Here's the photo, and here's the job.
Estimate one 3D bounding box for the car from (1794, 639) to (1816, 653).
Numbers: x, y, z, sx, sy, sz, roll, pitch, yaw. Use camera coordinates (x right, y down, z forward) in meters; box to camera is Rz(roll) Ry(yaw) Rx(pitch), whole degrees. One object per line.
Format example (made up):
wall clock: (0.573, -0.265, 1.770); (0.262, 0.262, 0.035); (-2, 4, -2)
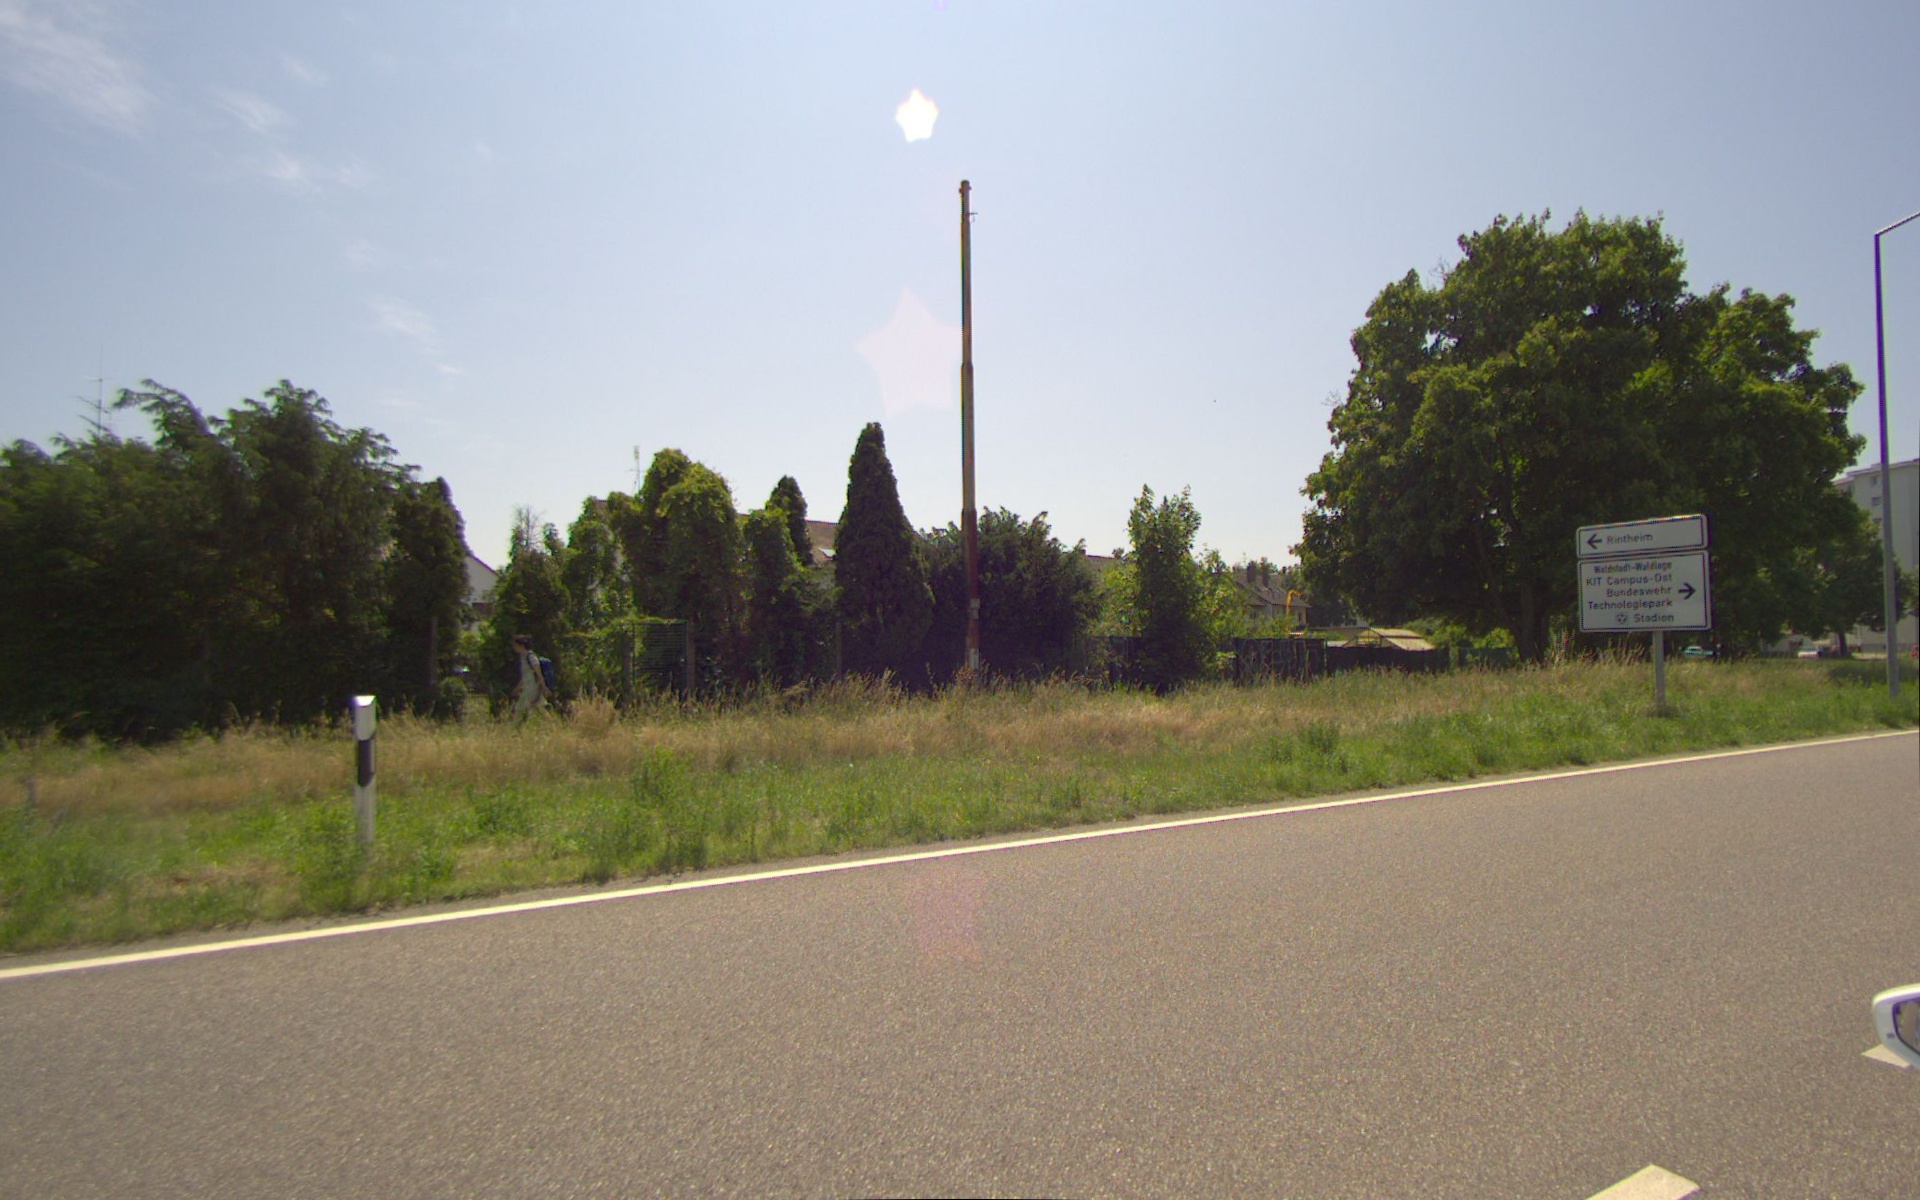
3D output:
car: (93.127, 5.079, 110.735); (1.668, 1.582, 3.821); (-3, -4, 39)

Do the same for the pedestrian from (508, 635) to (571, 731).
pedestrian: (-6.209, 1.204, 14.840); (0.789, 1.373, 0.578); (1, -2, -30)

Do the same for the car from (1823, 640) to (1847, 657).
car: (95.222, 5.236, 109.347); (1.824, 1.734, 3.983); (-1, -2, 39)

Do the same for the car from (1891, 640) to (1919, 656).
car: (99.471, 5.045, 105.413); (1.820, 1.690, 3.992); (-2, -4, 31)

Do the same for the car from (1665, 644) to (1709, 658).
car: (78.984, 5.570, 109.182); (3.837, 1.488, 1.769); (-2, -3, 37)
